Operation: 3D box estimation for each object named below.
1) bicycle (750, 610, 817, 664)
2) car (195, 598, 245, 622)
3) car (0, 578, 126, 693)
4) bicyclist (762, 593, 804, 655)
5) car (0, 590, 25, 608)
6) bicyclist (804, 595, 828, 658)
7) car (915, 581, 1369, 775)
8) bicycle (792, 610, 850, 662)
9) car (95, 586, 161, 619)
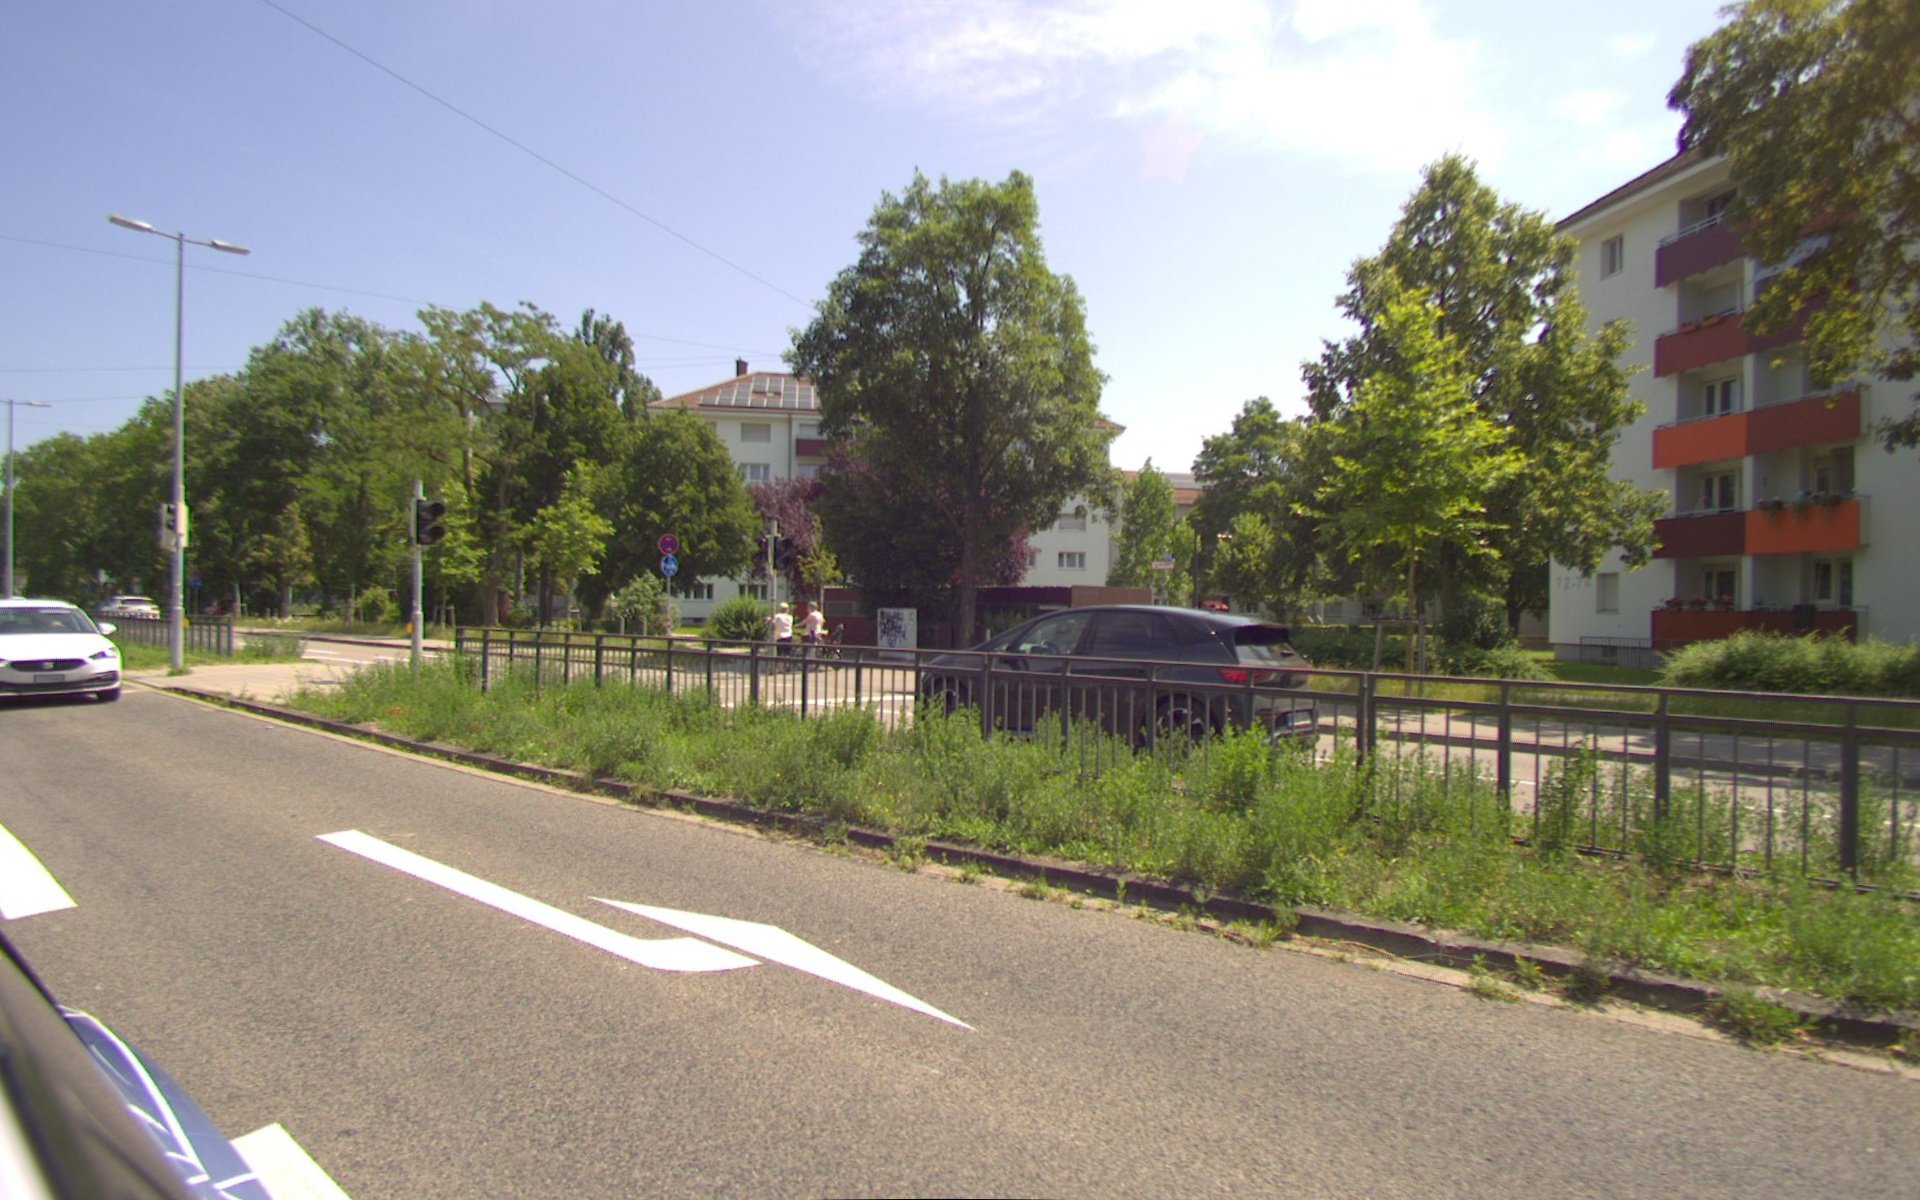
[{"bbox_3d":[-3.946,0.813,22.532,1.615,1.141,0.582,1,-1,42],"label":"bicycle"},{"bbox_3d":[-51.297,0.661,70.114,3.998,1.597,1.973,0,-1,41],"label":"car"},{"bbox_3d":[-13.614,0.436,14.630,4.109,1.479,1.749,1,1,41],"label":"car"},{"bbox_3d":[-3.938,0.528,22.529,0.755,1.356,0.539,0,-1,40],"label":"bicyclist"},{"bbox_3d":[-96.451,-0.086,102.573,4.475,1.771,1.841,1,0,39],"label":"car"},{"bbox_3d":[-3.281,0.597,23.059,0.440,1.402,0.353,0,1,44],"label":"bicyclist"},{"bbox_3d":[1.680,0.635,10.121,4.156,1.555,1.739,0,-1,39],"label":"car"},{"bbox_3d":[-3.170,0.806,22.977,1.379,1.102,0.548,2,2,43],"label":"bicycle"},{"bbox_3d":[-43.192,0.111,52.522,4.342,1.584,1.803,2,0,39],"label":"car"}]
